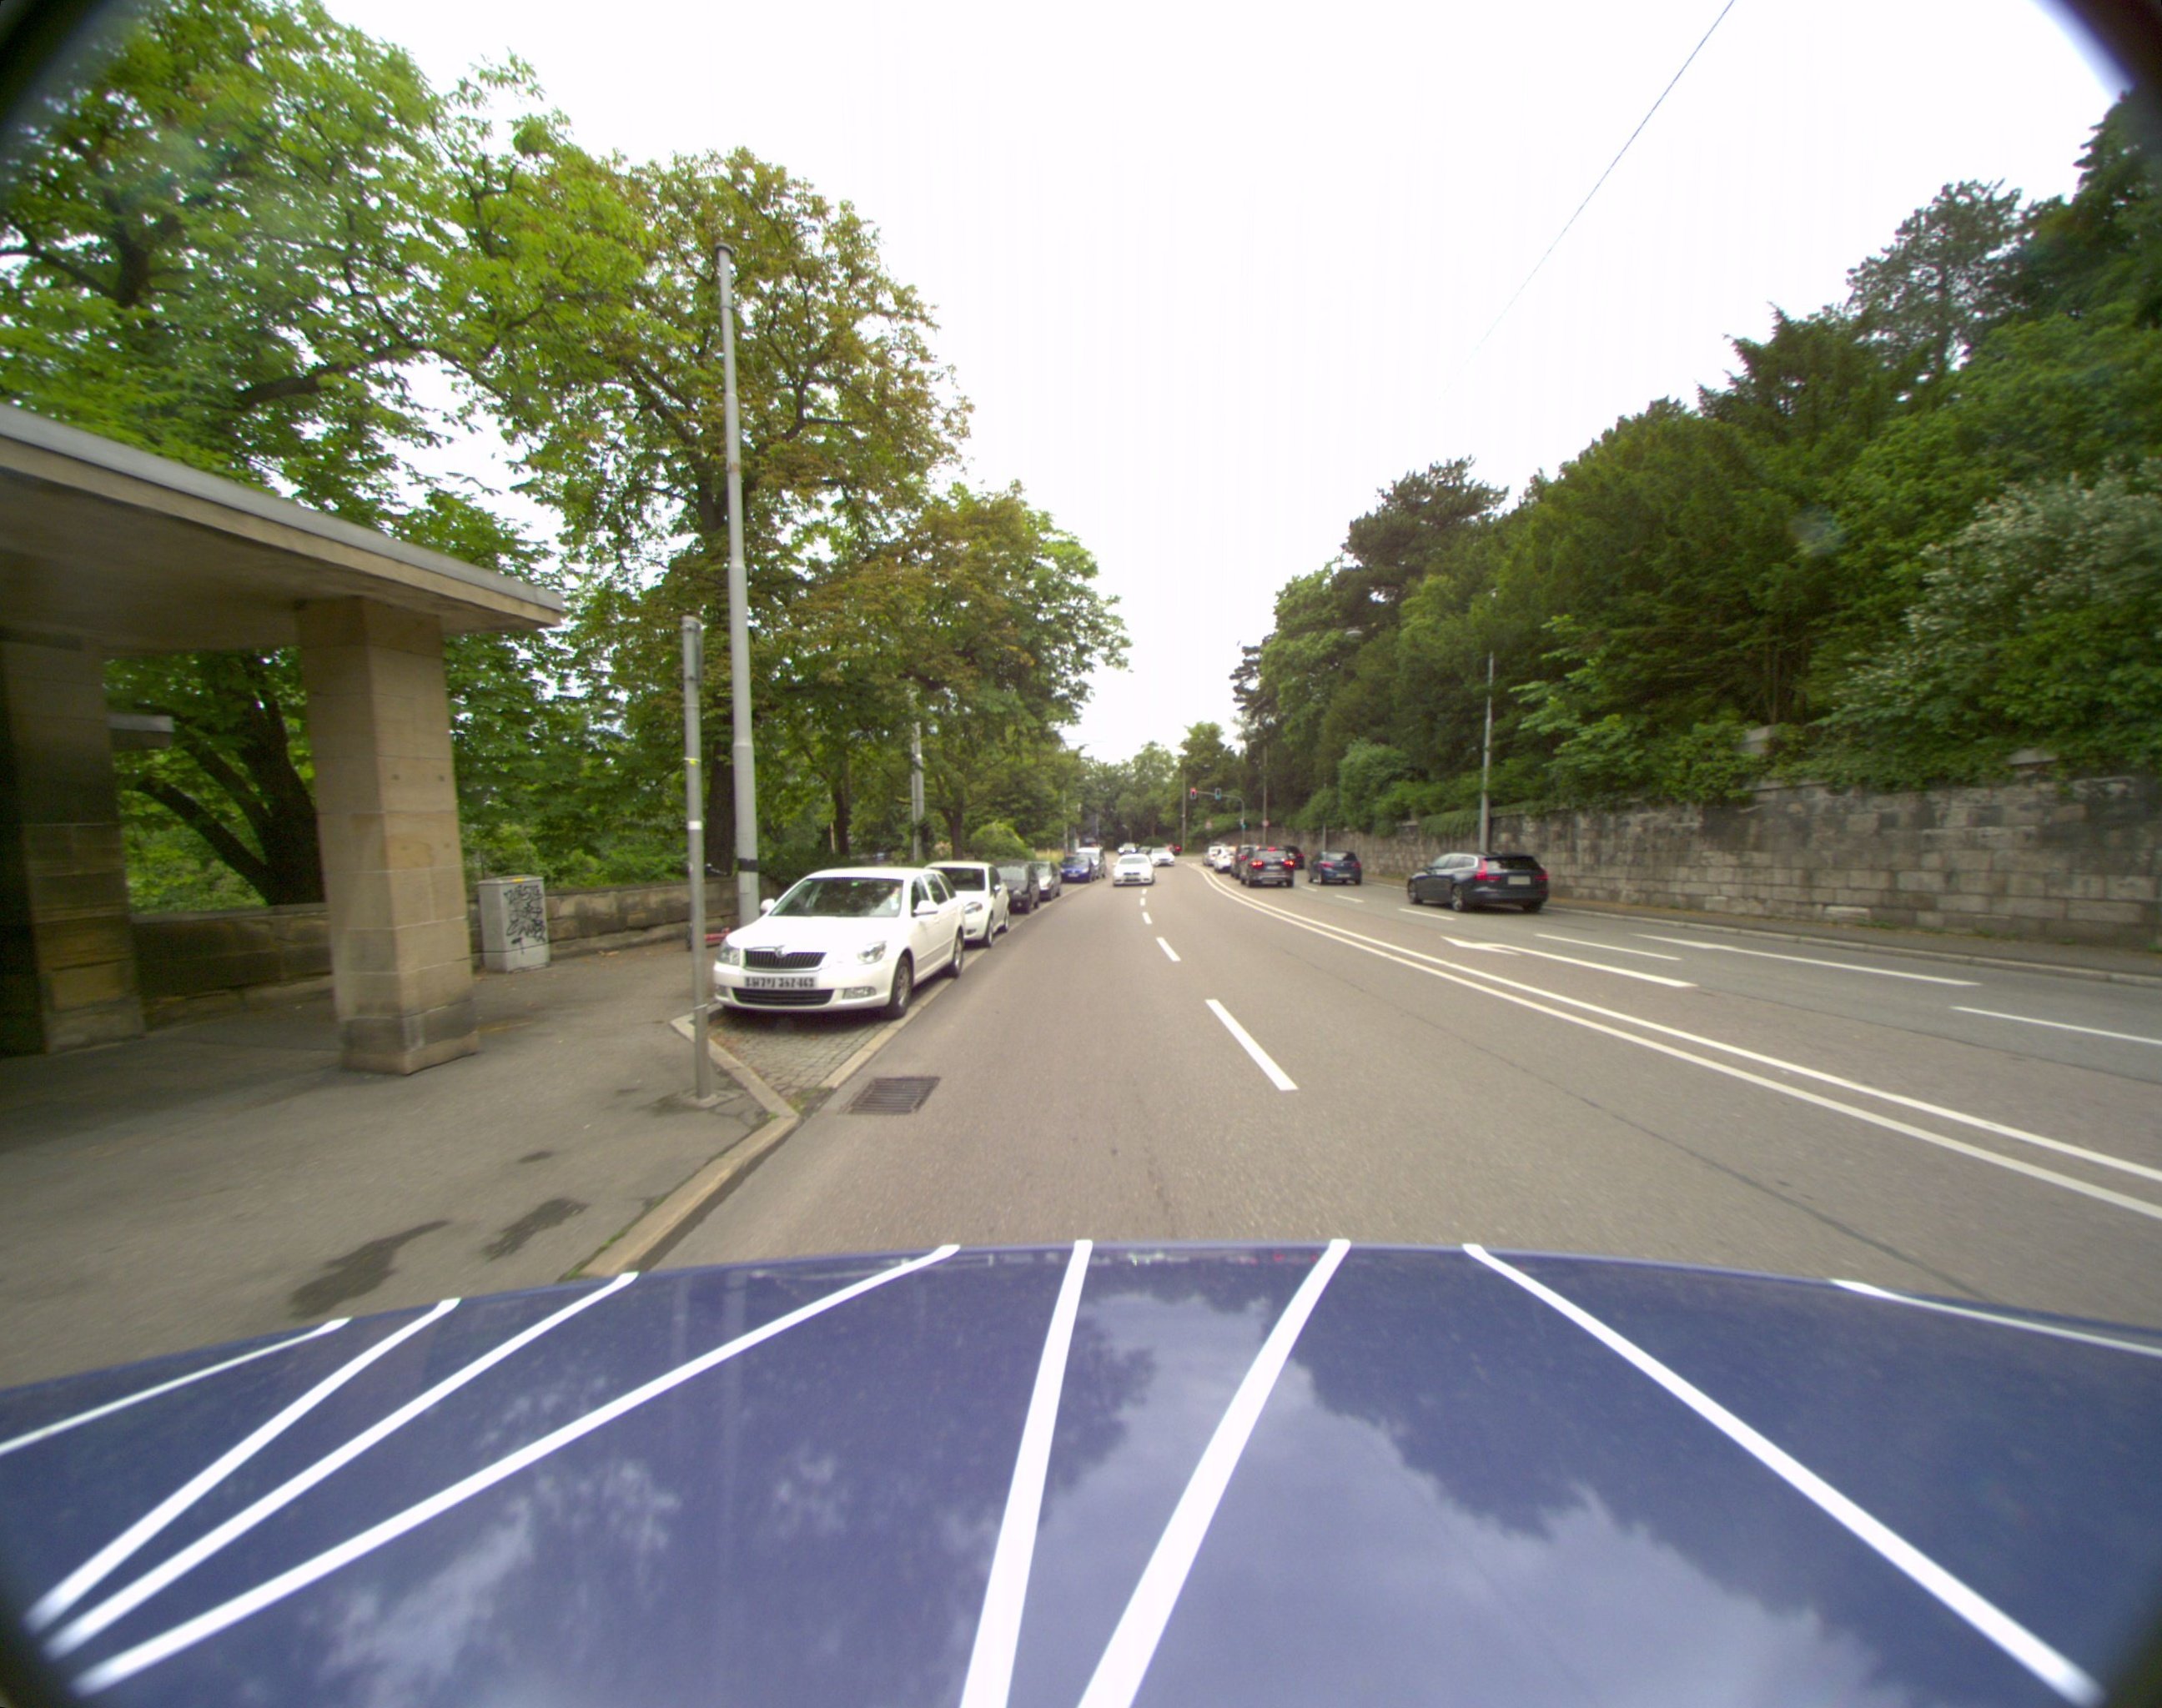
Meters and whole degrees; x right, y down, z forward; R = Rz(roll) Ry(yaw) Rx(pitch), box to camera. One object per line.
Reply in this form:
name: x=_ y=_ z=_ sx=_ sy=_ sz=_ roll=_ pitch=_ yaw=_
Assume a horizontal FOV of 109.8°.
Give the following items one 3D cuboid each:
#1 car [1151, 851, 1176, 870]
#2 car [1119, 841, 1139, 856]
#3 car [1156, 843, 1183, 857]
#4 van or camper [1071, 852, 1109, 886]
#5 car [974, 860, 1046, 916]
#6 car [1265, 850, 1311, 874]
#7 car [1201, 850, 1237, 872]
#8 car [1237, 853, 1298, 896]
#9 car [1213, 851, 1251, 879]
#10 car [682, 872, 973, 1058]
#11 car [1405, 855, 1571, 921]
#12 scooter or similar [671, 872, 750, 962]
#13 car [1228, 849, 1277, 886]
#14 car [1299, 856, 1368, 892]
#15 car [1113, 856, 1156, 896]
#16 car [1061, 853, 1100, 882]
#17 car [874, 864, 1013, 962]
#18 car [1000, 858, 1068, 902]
car: x=6.689 y=0.512 z=61.018 sx=1.801 sy=1.382 sz=3.529 roll=-1 pitch=1 yaw=9
car: x=5.876 y=-0.616 z=92.294 sx=1.956 sy=1.730 sz=4.003 roll=-2 pitch=0 yaw=10
car: x=9.862 y=-0.458 z=84.833 sx=1.637 sy=1.426 sz=3.953 roll=-3 pitch=1 yaw=-15
van or camper: x=0.593 y=0.861 z=45.474 sx=1.702 sy=1.834 sz=4.244 roll=-1 pitch=1 yaw=8
car: x=-2.005 y=0.935 z=22.206 sx=1.565 sy=1.414 sz=3.425 roll=1 pitch=1 yaw=3
car: x=13.008 y=0.453 z=48.014 sx=2.006 sy=1.401 sz=4.756 roll=-1 pitch=1 yaw=5
car: x=10.326 y=0.493 z=57.259 sx=1.998 sy=1.461 sz=4.878 roll=-1 pitch=1 yaw=2
car: x=7.774 y=0.789 z=32.069 sx=1.851 sy=1.642 sz=4.625 roll=0 pitch=1 yaw=6
car: x=9.256 y=0.635 z=46.943 sx=1.841 sy=1.545 sz=4.790 roll=-2 pitch=1 yaw=6
car: x=-2.470 y=0.988 z=8.628 sx=1.679 sy=1.452 sz=4.366 roll=0 pitch=0 yaw=2
car: x=9.763 y=0.738 z=18.688 sx=1.847 sy=1.401 sz=4.456 roll=0 pitch=0 yaw=2
scooter or similar: x=-5.547 y=0.909 z=11.434 sx=0.518 sy=1.253 sz=1.169 roll=1 pitch=0 yaw=6
car: x=8.832 y=0.663 z=39.434 sx=1.964 sy=1.740 sz=4.880 roll=-1 pitch=1 yaw=6
car: x=10.812 y=0.828 z=32.796 sx=1.846 sy=1.428 sz=4.001 roll=0 pitch=0 yaw=3
car: x=2.630 y=0.995 z=36.663 sx=1.822 sy=1.463 sz=4.784 roll=-4 pitch=2 yaw=6
car: x=0.011 y=0.673 z=40.428 sx=1.600 sy=1.451 sz=3.943 roll=0 pitch=1 yaw=7
car: x=-2.373 y=0.965 z=14.138 sx=1.719 sy=1.463 sz=4.039 roll=2 pitch=0 yaw=1
car: x=-1.609 y=0.891 z=27.688 sx=1.773 sy=1.391 sz=4.552 roll=0 pitch=1 yaw=5
